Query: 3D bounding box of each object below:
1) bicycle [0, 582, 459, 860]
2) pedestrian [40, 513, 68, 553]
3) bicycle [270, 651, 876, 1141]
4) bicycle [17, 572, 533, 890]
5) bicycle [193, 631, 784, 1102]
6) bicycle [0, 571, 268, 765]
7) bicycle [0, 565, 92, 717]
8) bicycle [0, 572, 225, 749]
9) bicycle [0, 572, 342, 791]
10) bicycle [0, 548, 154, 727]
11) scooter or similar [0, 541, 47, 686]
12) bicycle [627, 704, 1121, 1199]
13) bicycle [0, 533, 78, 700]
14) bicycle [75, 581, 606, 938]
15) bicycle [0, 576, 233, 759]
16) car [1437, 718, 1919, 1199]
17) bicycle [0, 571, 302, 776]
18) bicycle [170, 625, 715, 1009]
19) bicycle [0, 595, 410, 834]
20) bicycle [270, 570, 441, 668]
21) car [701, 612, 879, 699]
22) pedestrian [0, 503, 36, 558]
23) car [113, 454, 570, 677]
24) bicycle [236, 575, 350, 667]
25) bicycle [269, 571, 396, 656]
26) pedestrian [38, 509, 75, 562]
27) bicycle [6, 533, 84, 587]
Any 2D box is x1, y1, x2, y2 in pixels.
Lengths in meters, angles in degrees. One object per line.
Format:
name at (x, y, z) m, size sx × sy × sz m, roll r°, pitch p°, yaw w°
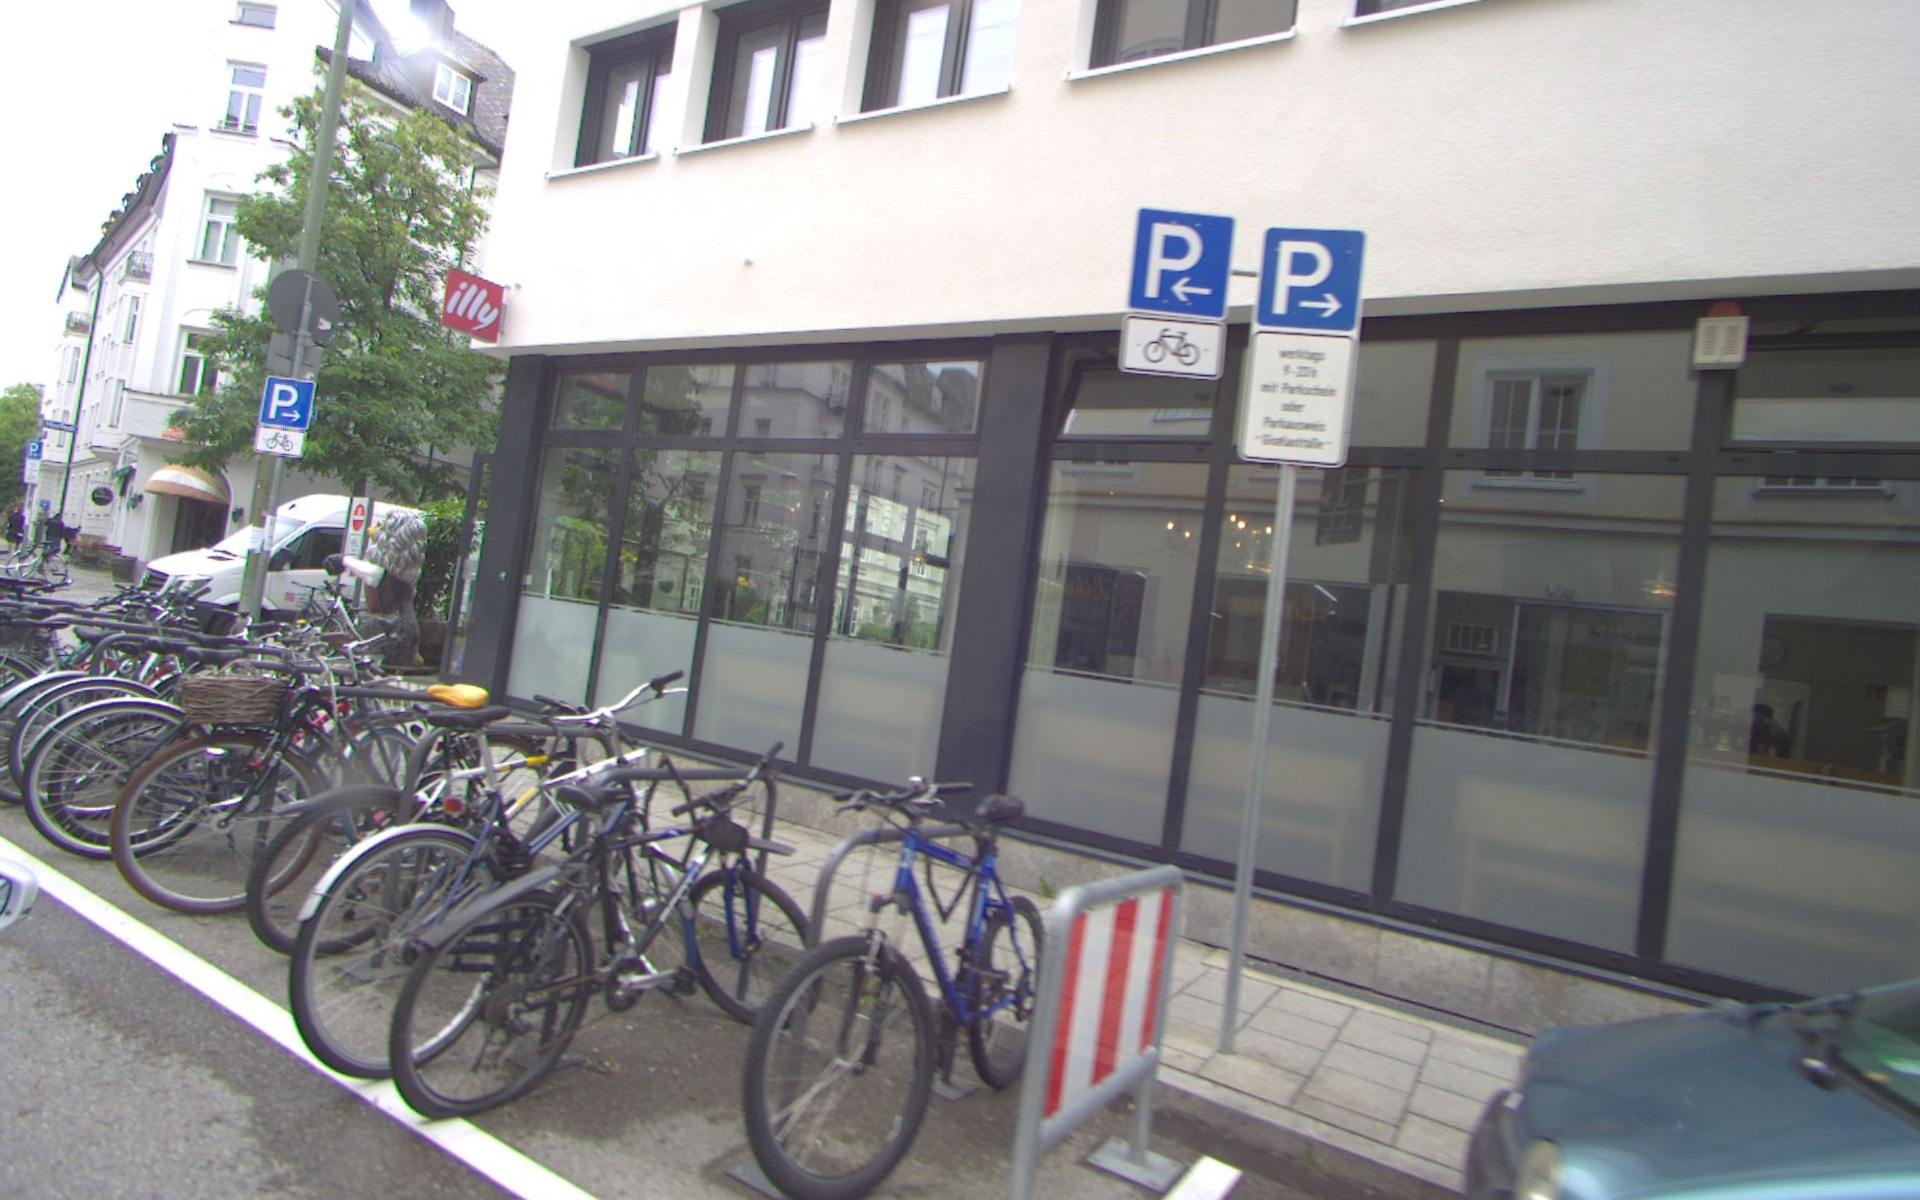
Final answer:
bicycle at (-3.601, 0.607, 5.094) m, size 0.432 × 1.107 × 1.880 m, roll 8°, pitch -2°, yaw 28°
pedestrian at (-46.041, -3.410, 51.151) m, size 0.775 × 1.871 × 0.850 m, roll 9°, pitch -2°, yaw -38°
bicycle at (-1.080, 0.853, 3.377) m, size 0.480 × 1.119 × 1.881 m, roll 8°, pitch -4°, yaw 29°
bicycle at (-3.121, 0.603, 4.851) m, size 0.556 × 1.183 × 1.899 m, roll 7°, pitch -2°, yaw 28°
bicycle at (-1.507, 0.835, 3.664) m, size 0.480 × 1.217 × 1.880 m, roll 8°, pitch -2°, yaw 29°
bicycle at (-5.440, 0.451, 6.377) m, size 0.371 × 1.091 × 1.618 m, roll 8°, pitch -2°, yaw 28°
bicycle at (-7.276, 0.254, 7.189) m, size 0.455 × 1.081 × 1.457 m, roll 7°, pitch -3°, yaw 24°
bicycle at (-6.120, 0.416, 6.774) m, size 0.444 × 1.091 × 1.746 m, roll 8°, pitch -2°, yaw 28°
bicycle at (-4.743, 0.495, 5.859) m, size 0.395 × 1.091 × 1.880 m, roll 8°, pitch -2°, yaw 28°
bicycle at (-6.769, 0.261, 7.165) m, size 0.388 × 1.220 × 1.457 m, roll 7°, pitch -3°, yaw 24°
scooter or similar at (-8.628, 0.043, 8.361) m, size 0.411 × 1.223 × 1.356 m, roll 7°, pitch -3°, yaw 33°
bicycle at (-0.099, 0.978, 3.249) m, size 0.480 × 1.090 × 1.882 m, roll 8°, pitch -5°, yaw 29°
bicycle at (-8.008, 0.067, 7.868) m, size 0.438 × 1.299 × 1.460 m, roll 7°, pitch -3°, yaw 32°
bicycle at (-2.601, 0.657, 4.521) m, size 0.570 × 1.218 × 1.879 m, roll 7°, pitch -2°, yaw 29°
bicycle at (-5.802, 0.447, 6.514) m, size 0.330 × 1.091 × 1.680 m, roll 8°, pitch -2°, yaw 28°
car at (2.739, 1.217, 1.598) m, size 3.491 × 1.480 × 1.585 m, roll 7°, pitch -3°, yaw 30°
bicycle at (-5.130, 0.459, 6.052) m, size 0.401 × 1.091 × 1.880 m, roll 8°, pitch -2°, yaw 28°
bicycle at (-1.969, 0.836, 4.204) m, size 0.555 × 1.169 × 1.881 m, roll 8°, pitch -4°, yaw 29°
bicycle at (-4.149, 0.622, 5.535) m, size 0.554 × 1.063 × 1.880 m, roll 5°, pitch -4°, yaw 27°
bicycle at (-8.619, 0.304, 14.435) m, size 0.583 × 1.139 × 1.904 m, roll 7°, pitch -4°, yaw 36°
car at (-4.182, 1.459, 25.384) m, size 1.783 × 1.585 × 4.247 m, roll 8°, pitch -3°, yaw 35°
pedestrian at (-34.900, -2.575, 37.230) m, size 0.777 × 1.871 × 1.010 m, roll 10°, pitch -3°, yaw -44°
car at (-9.887, -0.379, 16.757) m, size 2.027 × 2.619 × 5.903 m, roll 8°, pitch -3°, yaw 36°
bicycle at (-9.440, 0.316, 14.268) m, size 0.335 × 1.140 × 1.179 m, roll 7°, pitch -3°, yaw 37°
bicycle at (-9.377, 0.227, 15.090) m, size 0.364 × 1.083 × 1.507 m, roll 7°, pitch -3°, yaw 30°
pedestrian at (-33.868, -2.420, 37.708) m, size 0.777 × 1.871 × 1.010 m, roll 10°, pitch -3°, yaw -44°
bicycle at (-20.755, -0.909, 22.810) m, size 1.723 × 1.011 × 0.540 m, roll 7°, pitch 1°, yaw 21°
